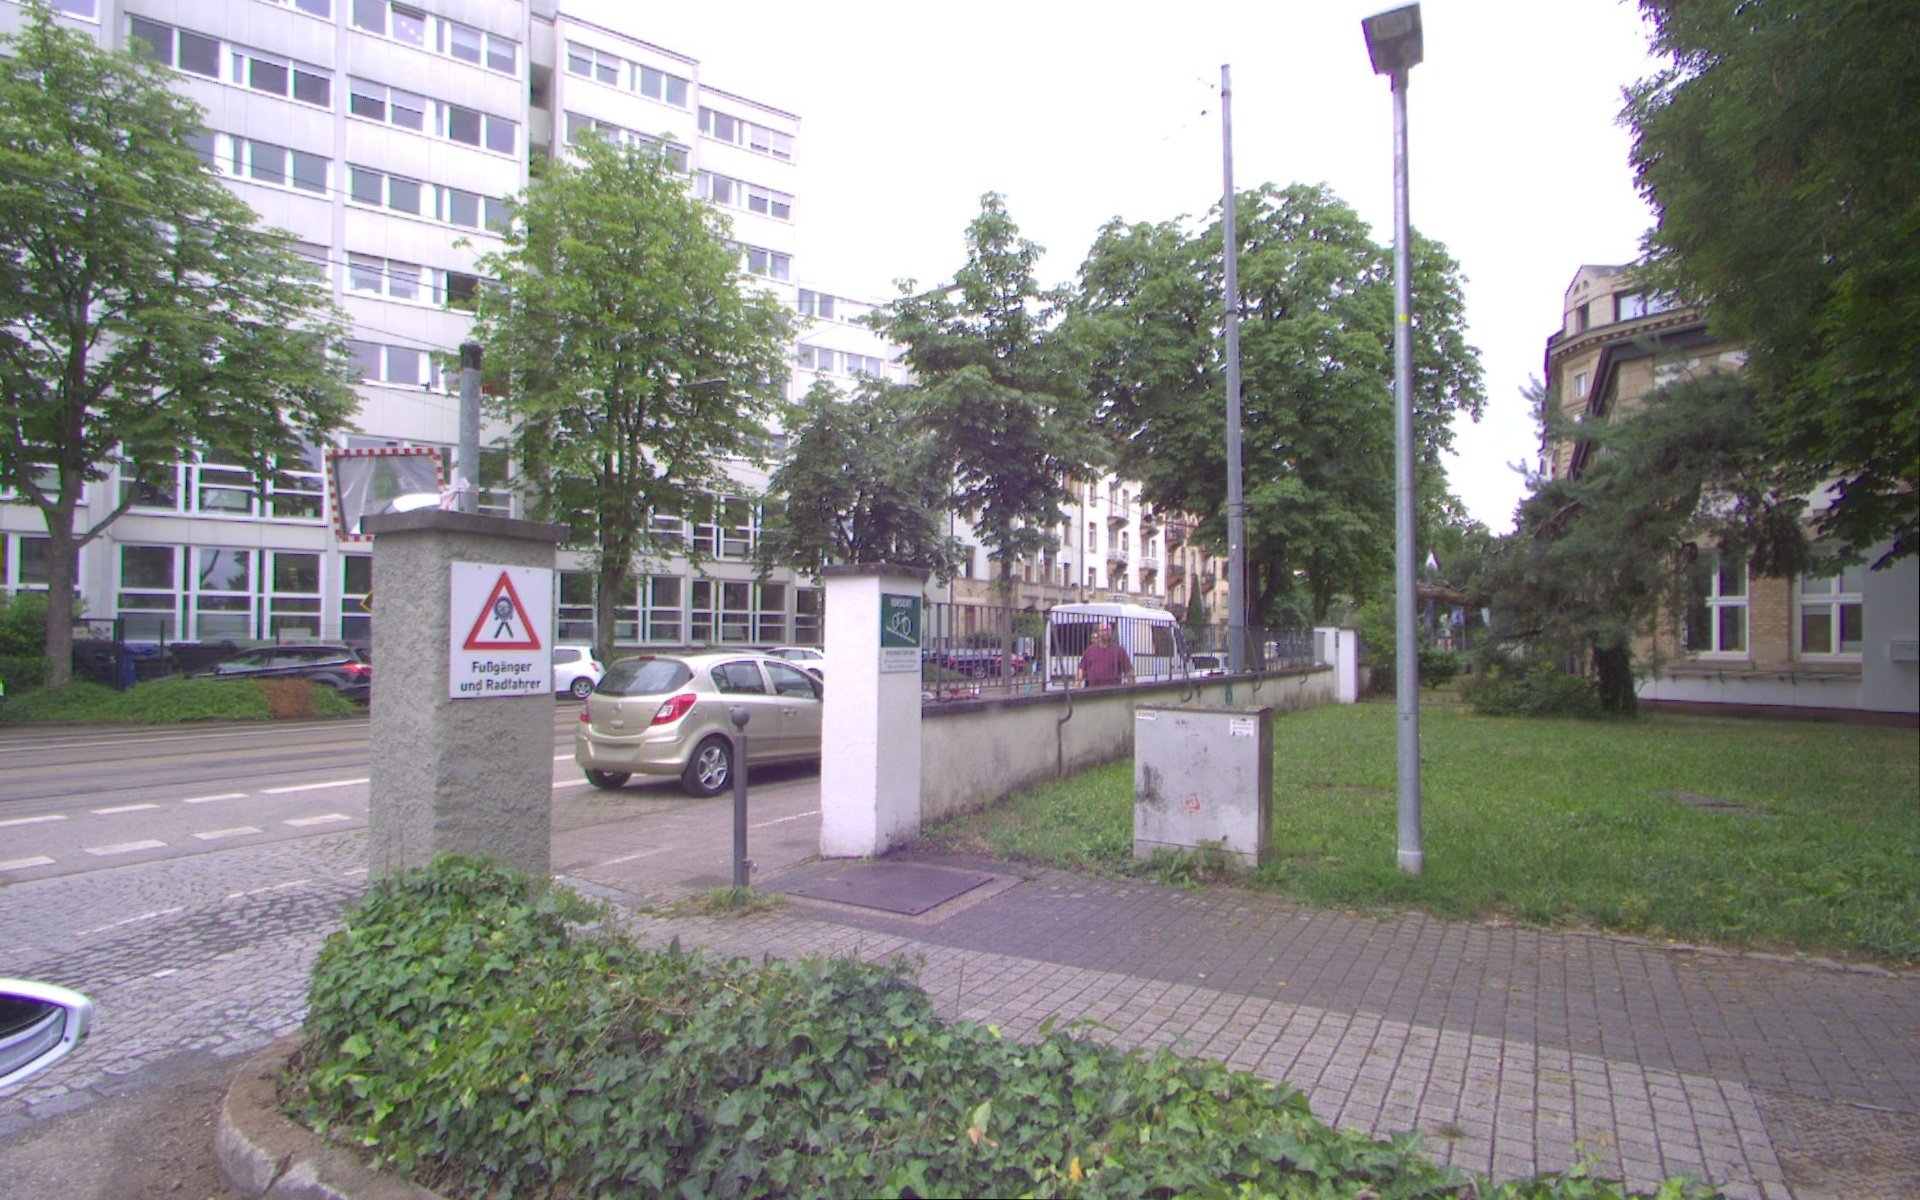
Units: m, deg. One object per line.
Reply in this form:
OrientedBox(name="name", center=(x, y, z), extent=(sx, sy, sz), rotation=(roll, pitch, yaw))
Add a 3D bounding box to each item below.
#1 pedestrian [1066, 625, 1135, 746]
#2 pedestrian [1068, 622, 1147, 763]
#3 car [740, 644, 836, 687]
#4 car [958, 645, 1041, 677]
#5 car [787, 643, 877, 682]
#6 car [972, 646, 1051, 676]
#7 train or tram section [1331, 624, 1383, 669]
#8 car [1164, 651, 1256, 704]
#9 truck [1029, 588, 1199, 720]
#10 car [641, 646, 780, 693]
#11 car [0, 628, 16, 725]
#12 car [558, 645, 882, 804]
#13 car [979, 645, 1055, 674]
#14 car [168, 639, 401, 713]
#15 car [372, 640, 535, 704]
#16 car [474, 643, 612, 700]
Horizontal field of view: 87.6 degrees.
OrientedBox(name="pedestrian", center=(2.114, 1.251, 14.956), extent=(0.789, 1.740, 0.953), rotation=(-1, -2, 23))
OrientedBox(name="pedestrian", center=(1.930, 1.166, 13.009), extent=(0.795, 1.740, 0.953), rotation=(0, -2, 24))
OrientedBox(name="car", center=(-6.261, 2.371, 36.304), extent=(3.328, 1.492, 1.415), rotation=(1, -2, -14))
OrientedBox(name="car", center=(1.860, 2.902, 47.850), extent=(3.723, 1.460, 1.692), rotation=(1, -2, -9))
OrientedBox(name="car", center=(-4.976, 2.414, 38.955), extent=(3.328, 1.492, 1.415), rotation=(1, -2, -14))
OrientedBox(name="car", center=(2.567, 3.082, 50.608), extent=(3.723, 1.460, 1.692), rotation=(1, -2, -9))
OrientedBox(name="train or tram section", center=(35.106, 4.032, 88.229), extent=(2.628, 3.660, 12.406), rotation=(0, -2, 30))
OrientedBox(name="car", center=(7.231, 2.169, 28.681), extent=(1.783, 1.371, 3.799), rotation=(-1, -2, 27))
OrientedBox(name="truck", center=(3.575, 1.178, 22.368), extent=(2.137, 2.578, 4.908), rotation=(-1, -2, 30))
OrientedBox(name="car", center=(-8.340, 2.318, 33.435), extent=(4.420, 1.491, 1.416), rotation=(1, -4, -18))
OrientedBox(name="car", center=(-17.749, 1.263, 16.140), extent=(3.344, 1.638, 1.556), rotation=(0, -1, -12))
OrientedBox(name="car", center=(-2.602, 1.295, 11.634), extent=(1.641, 1.519, 3.579), rotation=(-1, -3, 30))
OrientedBox(name="car", center=(2.987, 3.142, 53.002), extent=(3.723, 1.460, 1.692), rotation=(1, -2, -9))
OrientedBox(name="car", center=(-14.635, 1.613, 21.943), extent=(3.885, 1.492, 1.671), rotation=(0, -2, -18))
OrientedBox(name="car", center=(-12.423, 1.742, 24.727), extent=(3.328, 1.492, 1.415), rotation=(0, -2, -14))
OrientedBox(name="car", center=(-11.424, 1.947, 27.638), extent=(3.328, 1.492, 1.415), rotation=(0, -2, -14))
